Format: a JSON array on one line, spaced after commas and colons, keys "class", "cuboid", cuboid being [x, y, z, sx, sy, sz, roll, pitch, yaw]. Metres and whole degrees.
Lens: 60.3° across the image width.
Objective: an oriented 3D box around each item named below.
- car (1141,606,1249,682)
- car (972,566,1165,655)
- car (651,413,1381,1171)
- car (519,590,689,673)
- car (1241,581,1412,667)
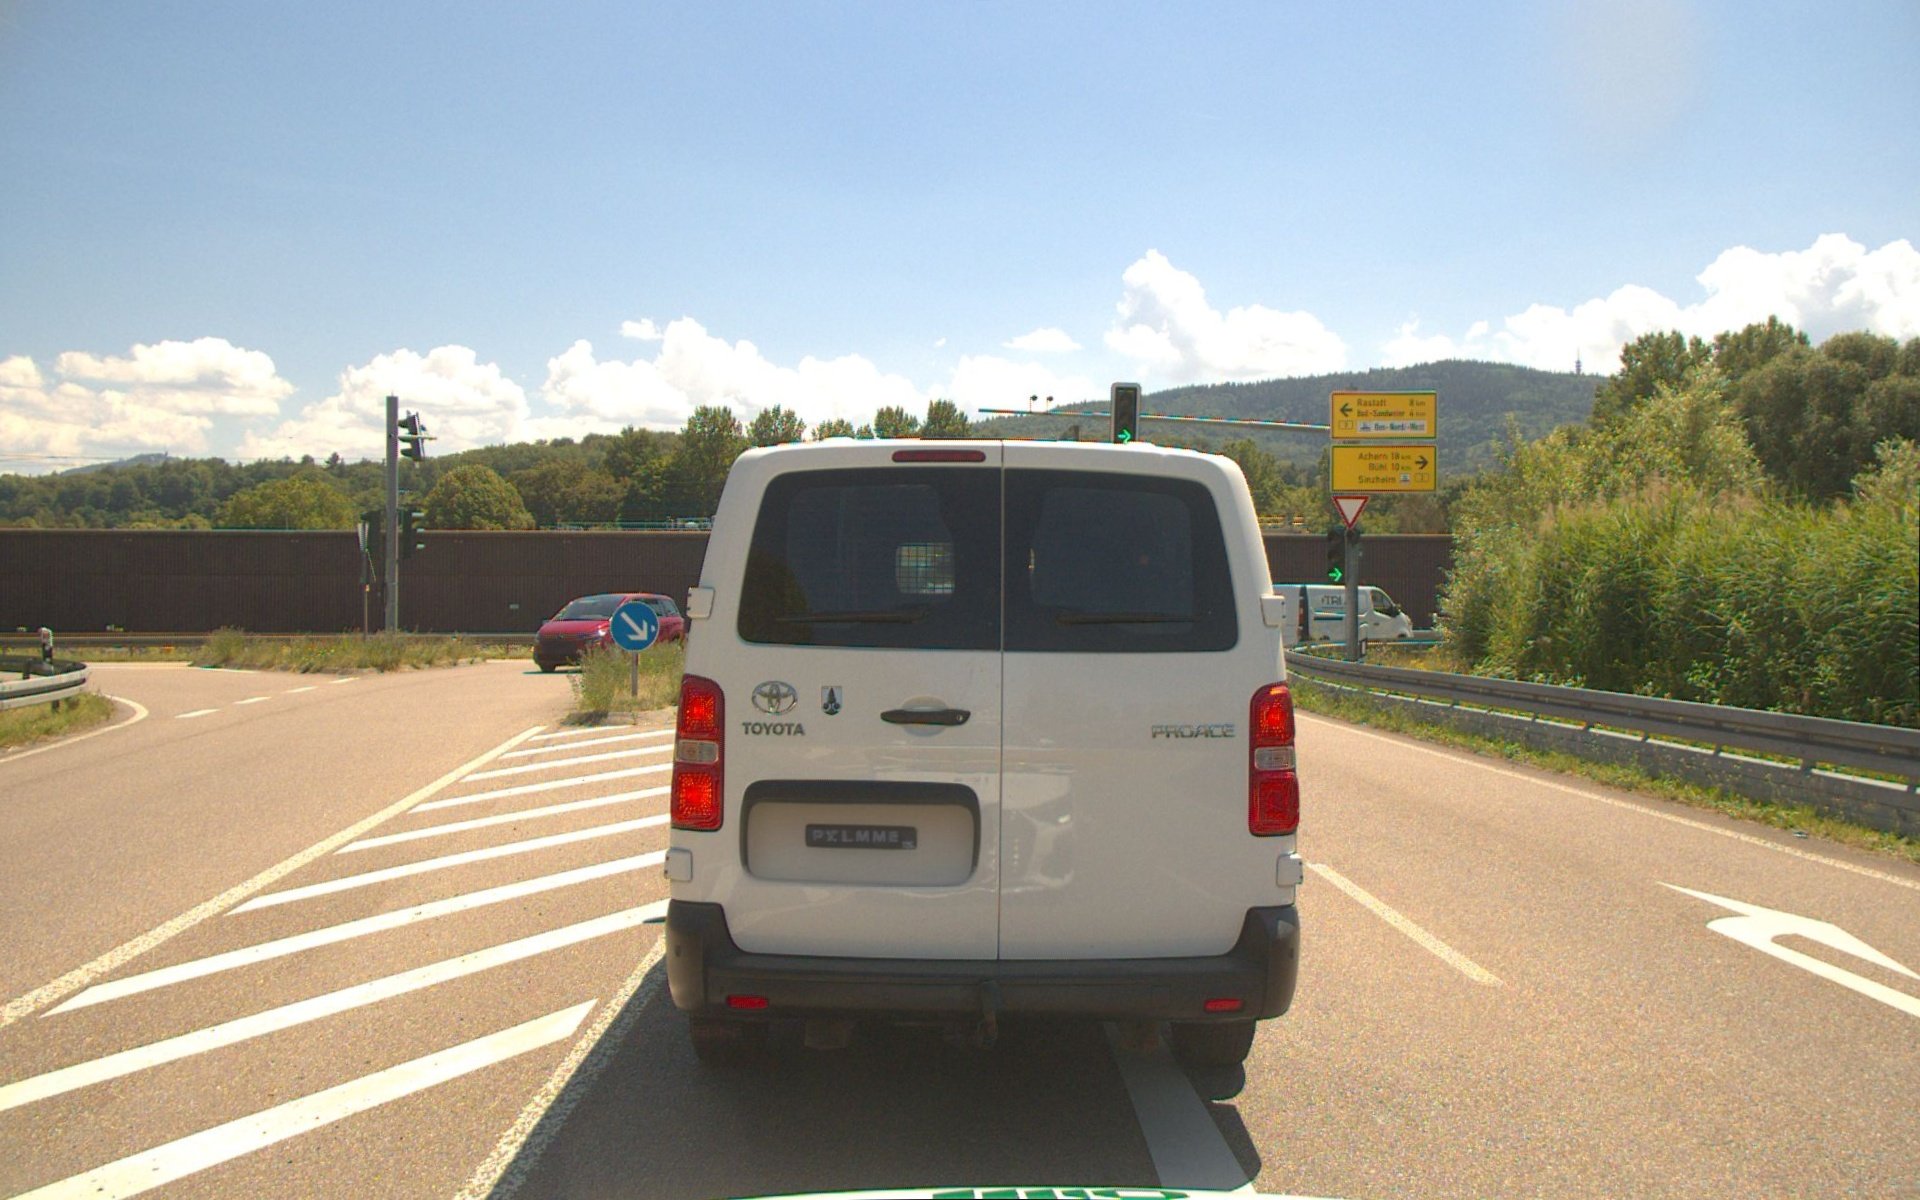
[{"class": "car", "cuboid": [4.851, 0.870, 33.896, 1.621, 1.456, 3.367, 1, 0, 18]}, {"class": "car", "cuboid": [3.132, 0.315, 47.950, 5.251, 2.493, 2.033, 0, 0, -13]}, {"class": "car", "cuboid": [0.104, 0.508, 6.231, 1.848, 1.919, 3.999, 1, 0, -2]}, {"class": "car", "cuboid": [-7.676, 0.653, 36.135, 1.951, 1.685, 4.327, 0, 0, 13]}, {"class": "car", "cuboid": [9.194, 0.592, 41.273, 1.903, 2.035, 4.802, 0, -1, 45]}]
